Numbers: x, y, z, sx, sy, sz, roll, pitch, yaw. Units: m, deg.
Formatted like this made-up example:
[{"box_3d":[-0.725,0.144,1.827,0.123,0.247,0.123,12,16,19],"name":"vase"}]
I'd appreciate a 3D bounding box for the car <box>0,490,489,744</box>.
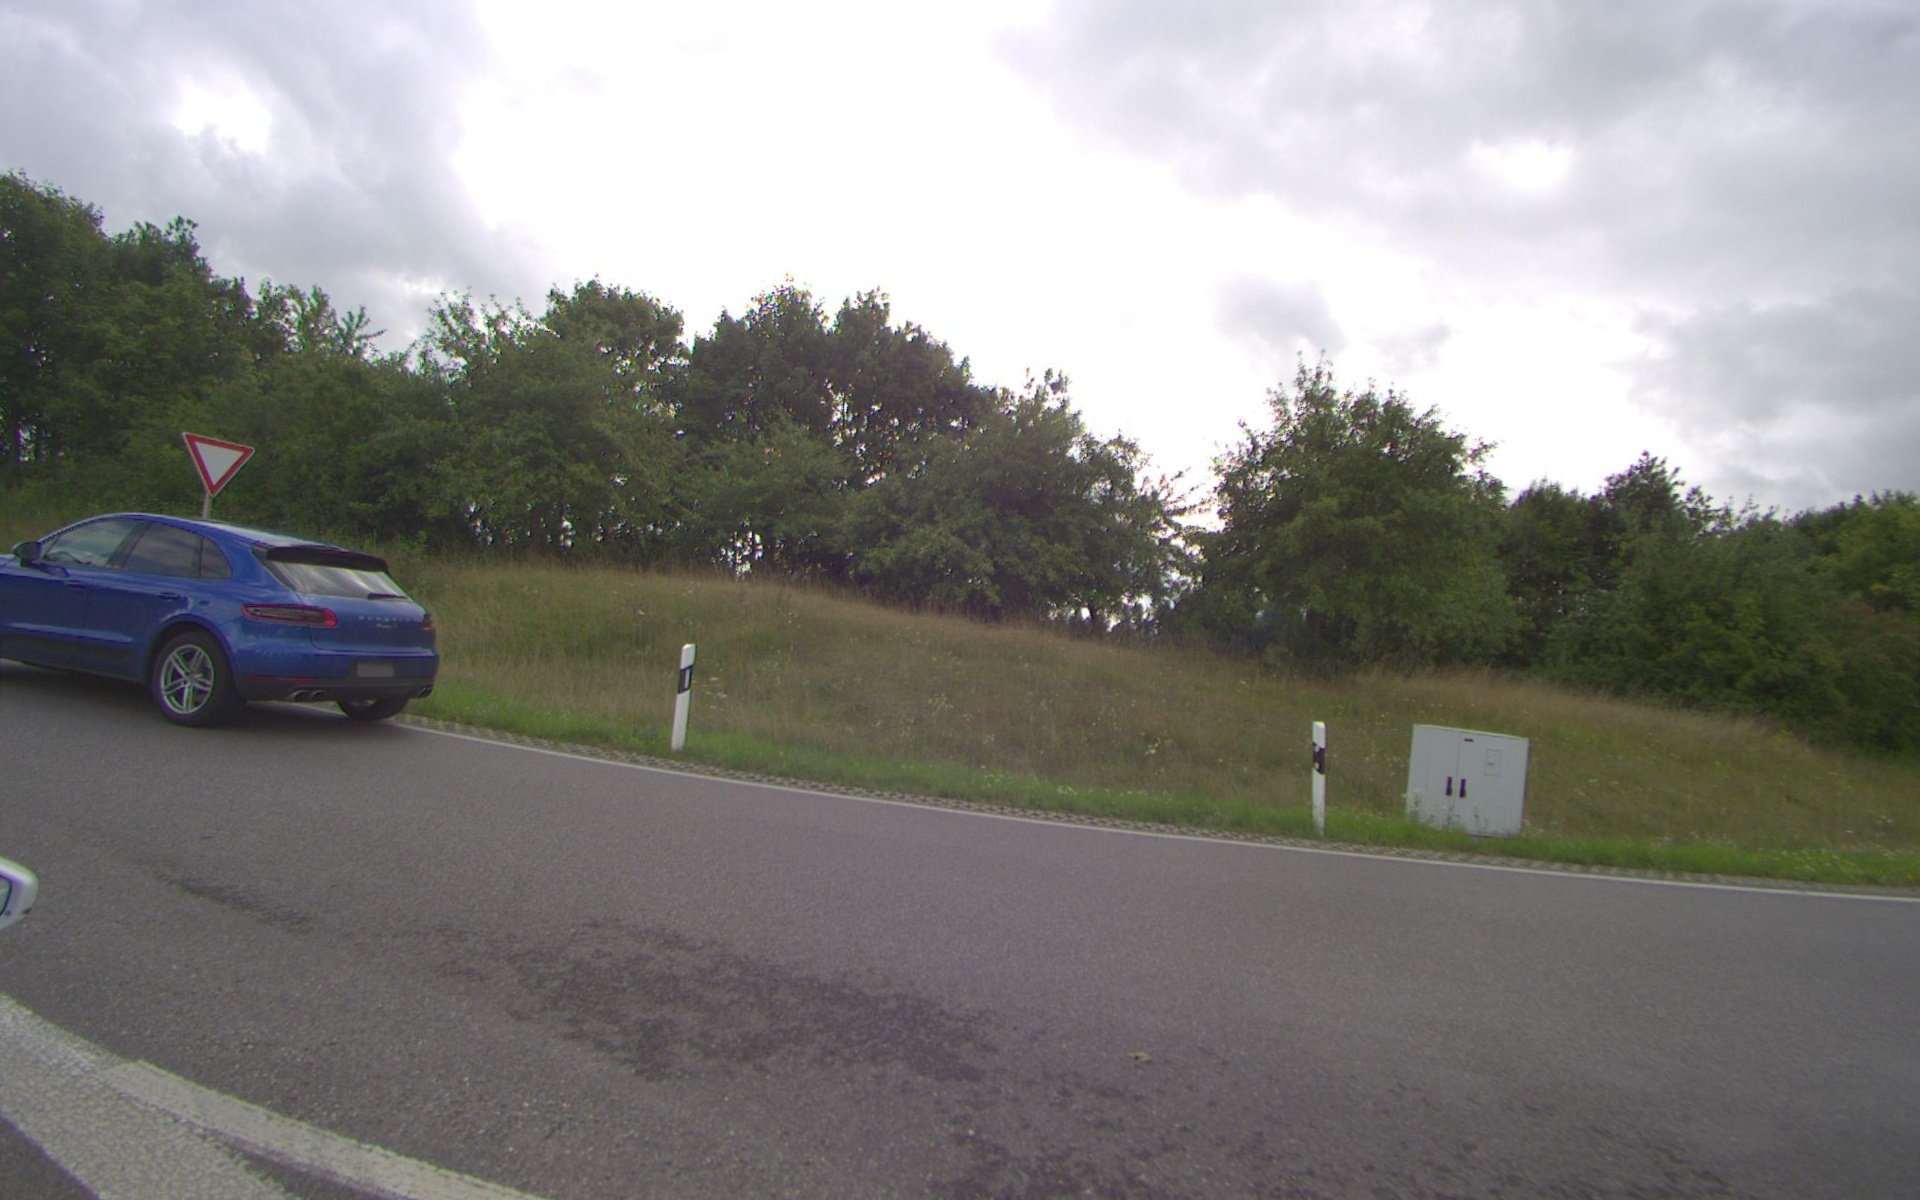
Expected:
[{"box_3d":[-6.948,0.067,8.899,4.666,1.588,2.003,7,-3,14],"name":"car"}]
